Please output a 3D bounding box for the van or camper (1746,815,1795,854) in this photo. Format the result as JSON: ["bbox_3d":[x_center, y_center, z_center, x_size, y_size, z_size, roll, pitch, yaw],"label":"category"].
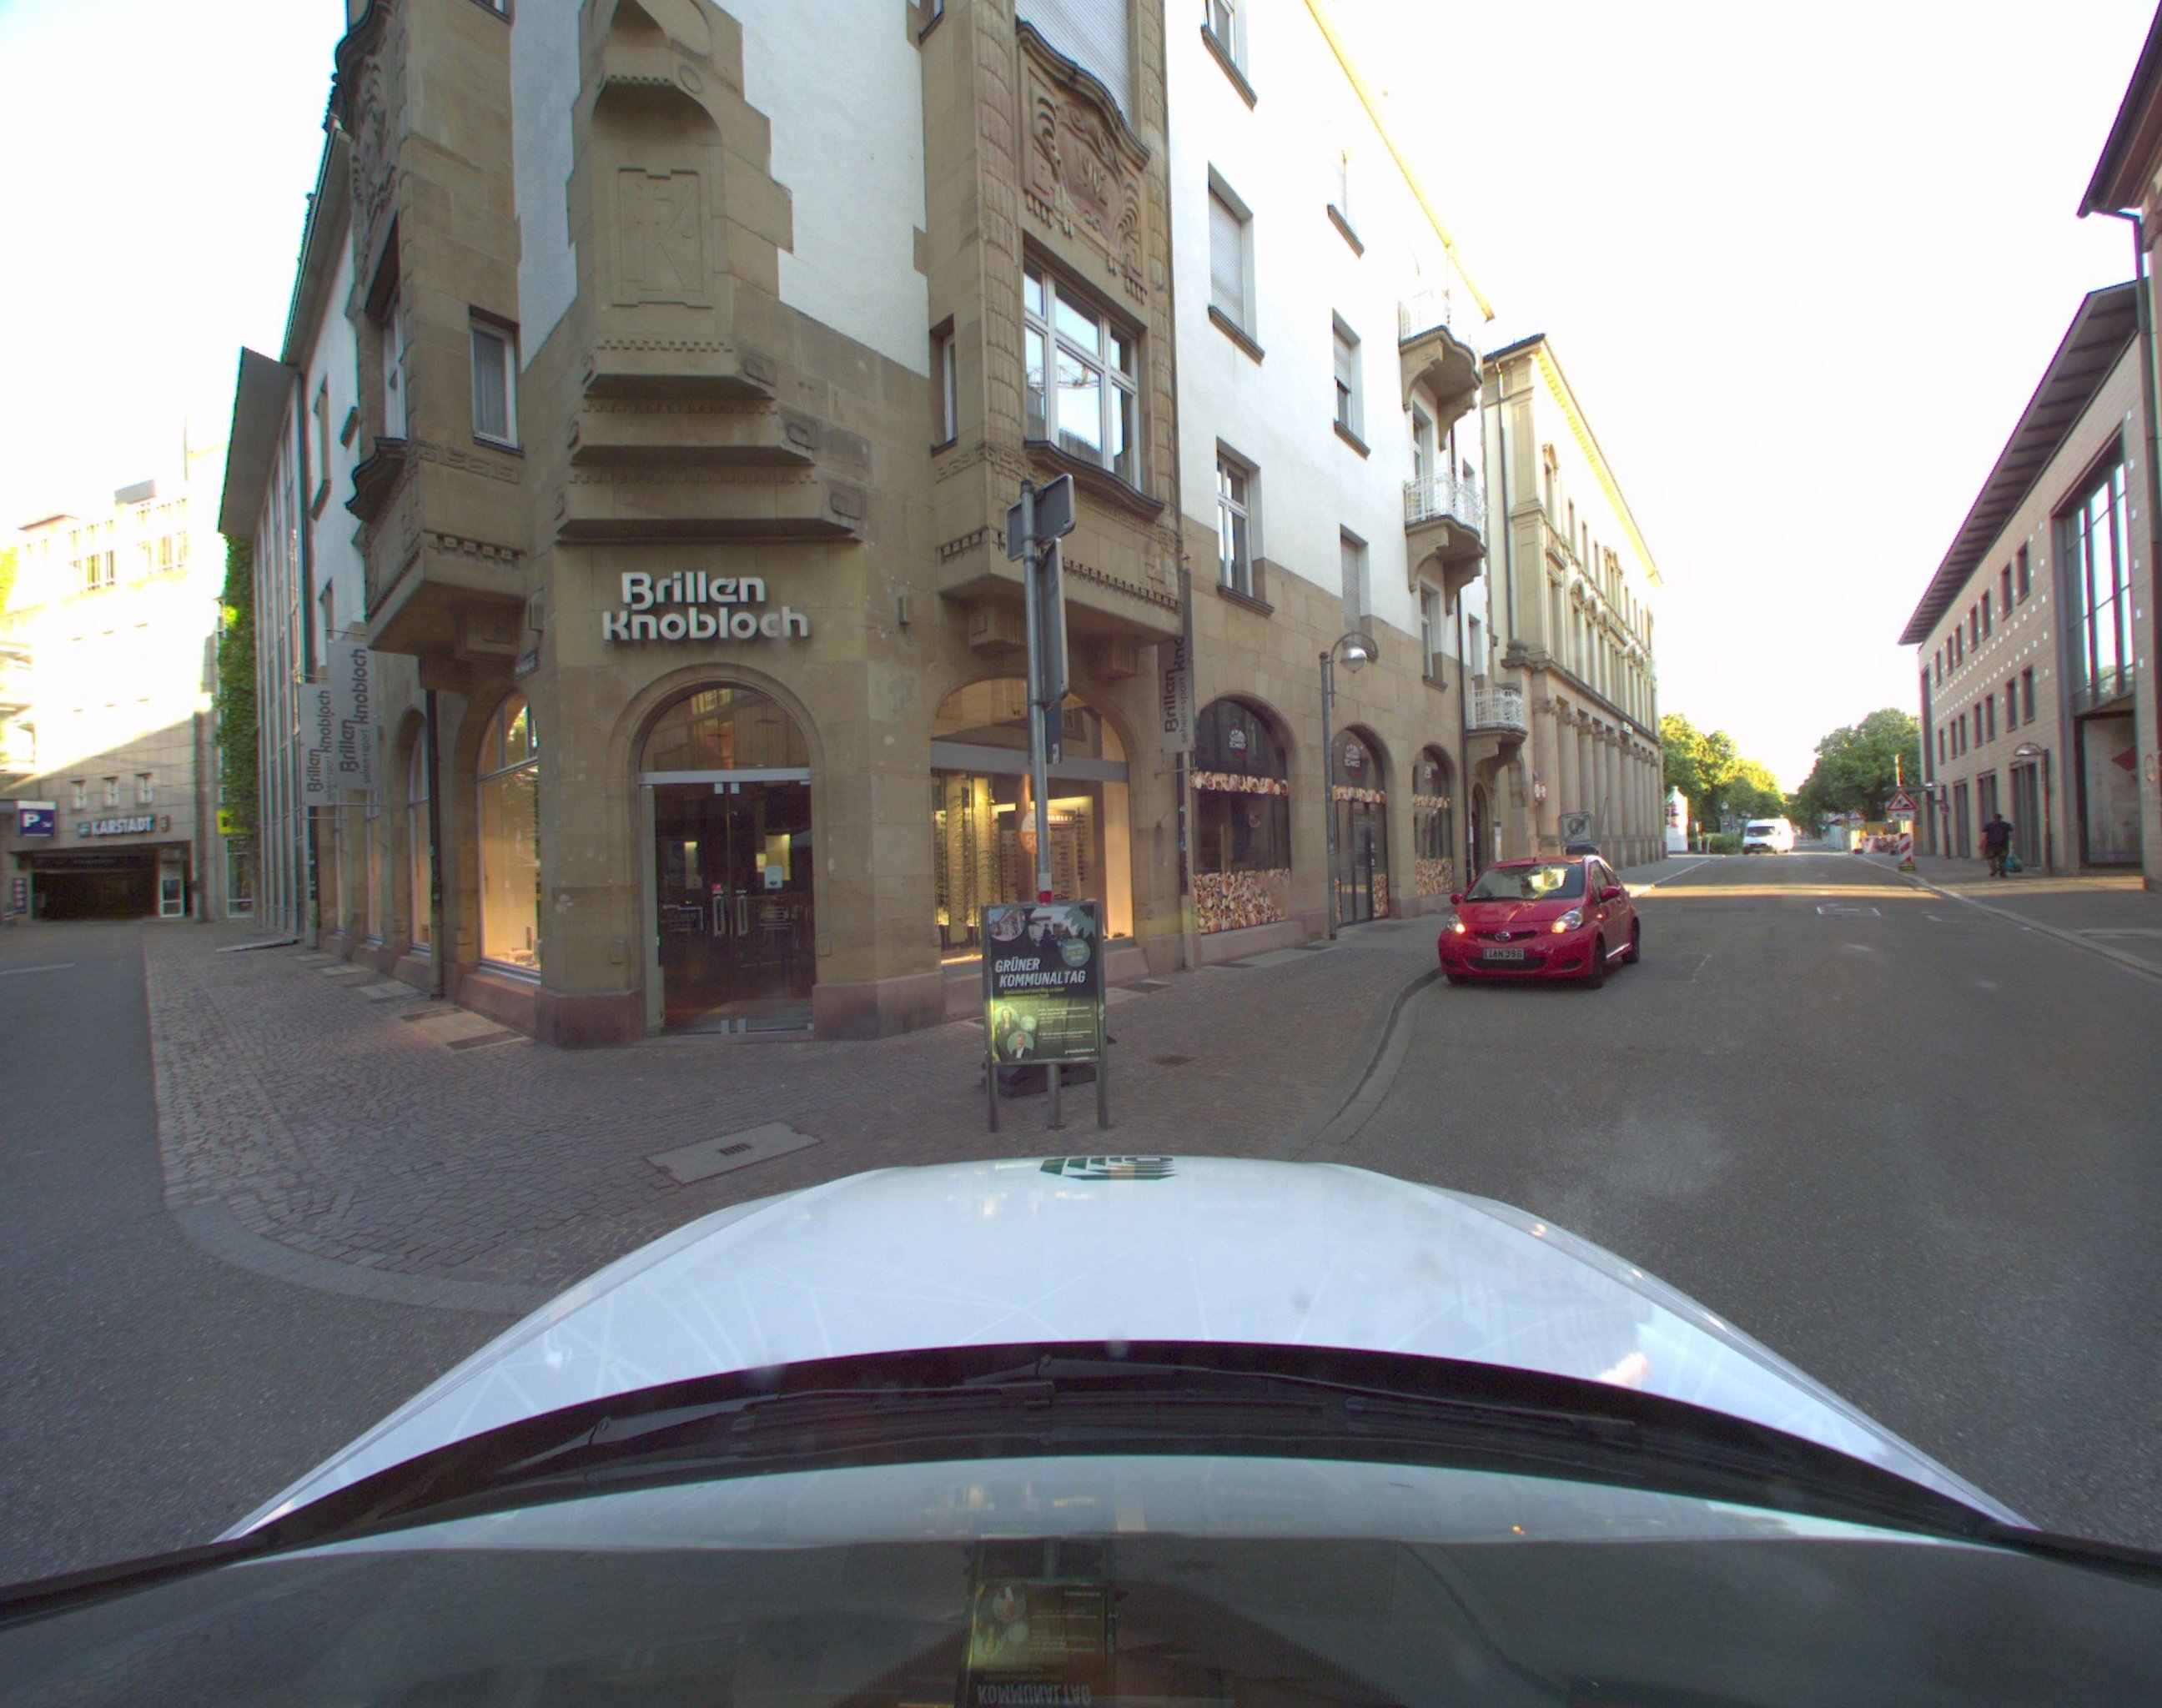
[{"bbox_3d":[49.286,-1.413,58.166,2.198,2.585,6.410,-2,0,44],"label":"van or camper"}]

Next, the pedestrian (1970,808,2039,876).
[{"bbox_3d":[25.813,-0.324,22.786,0.991,1.803,0.887,-7,-5,41],"label":"pedestrian"}]

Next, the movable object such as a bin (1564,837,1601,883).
[{"bbox_3d":[17.156,0.196,27.833,0.821,1.503,1.299,-1,1,42],"label":"movable object such as a bin"}]

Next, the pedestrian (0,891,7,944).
[{"bbox_3d":[-36.466,2.112,27.058,0.789,1.757,0.872,-3,-1,42],"label":"pedestrian"}]

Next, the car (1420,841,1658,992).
[{"bbox_3d":[5.849,0.660,10.162,1.642,1.470,3.956,-6,-2,42],"label":"car"}]
